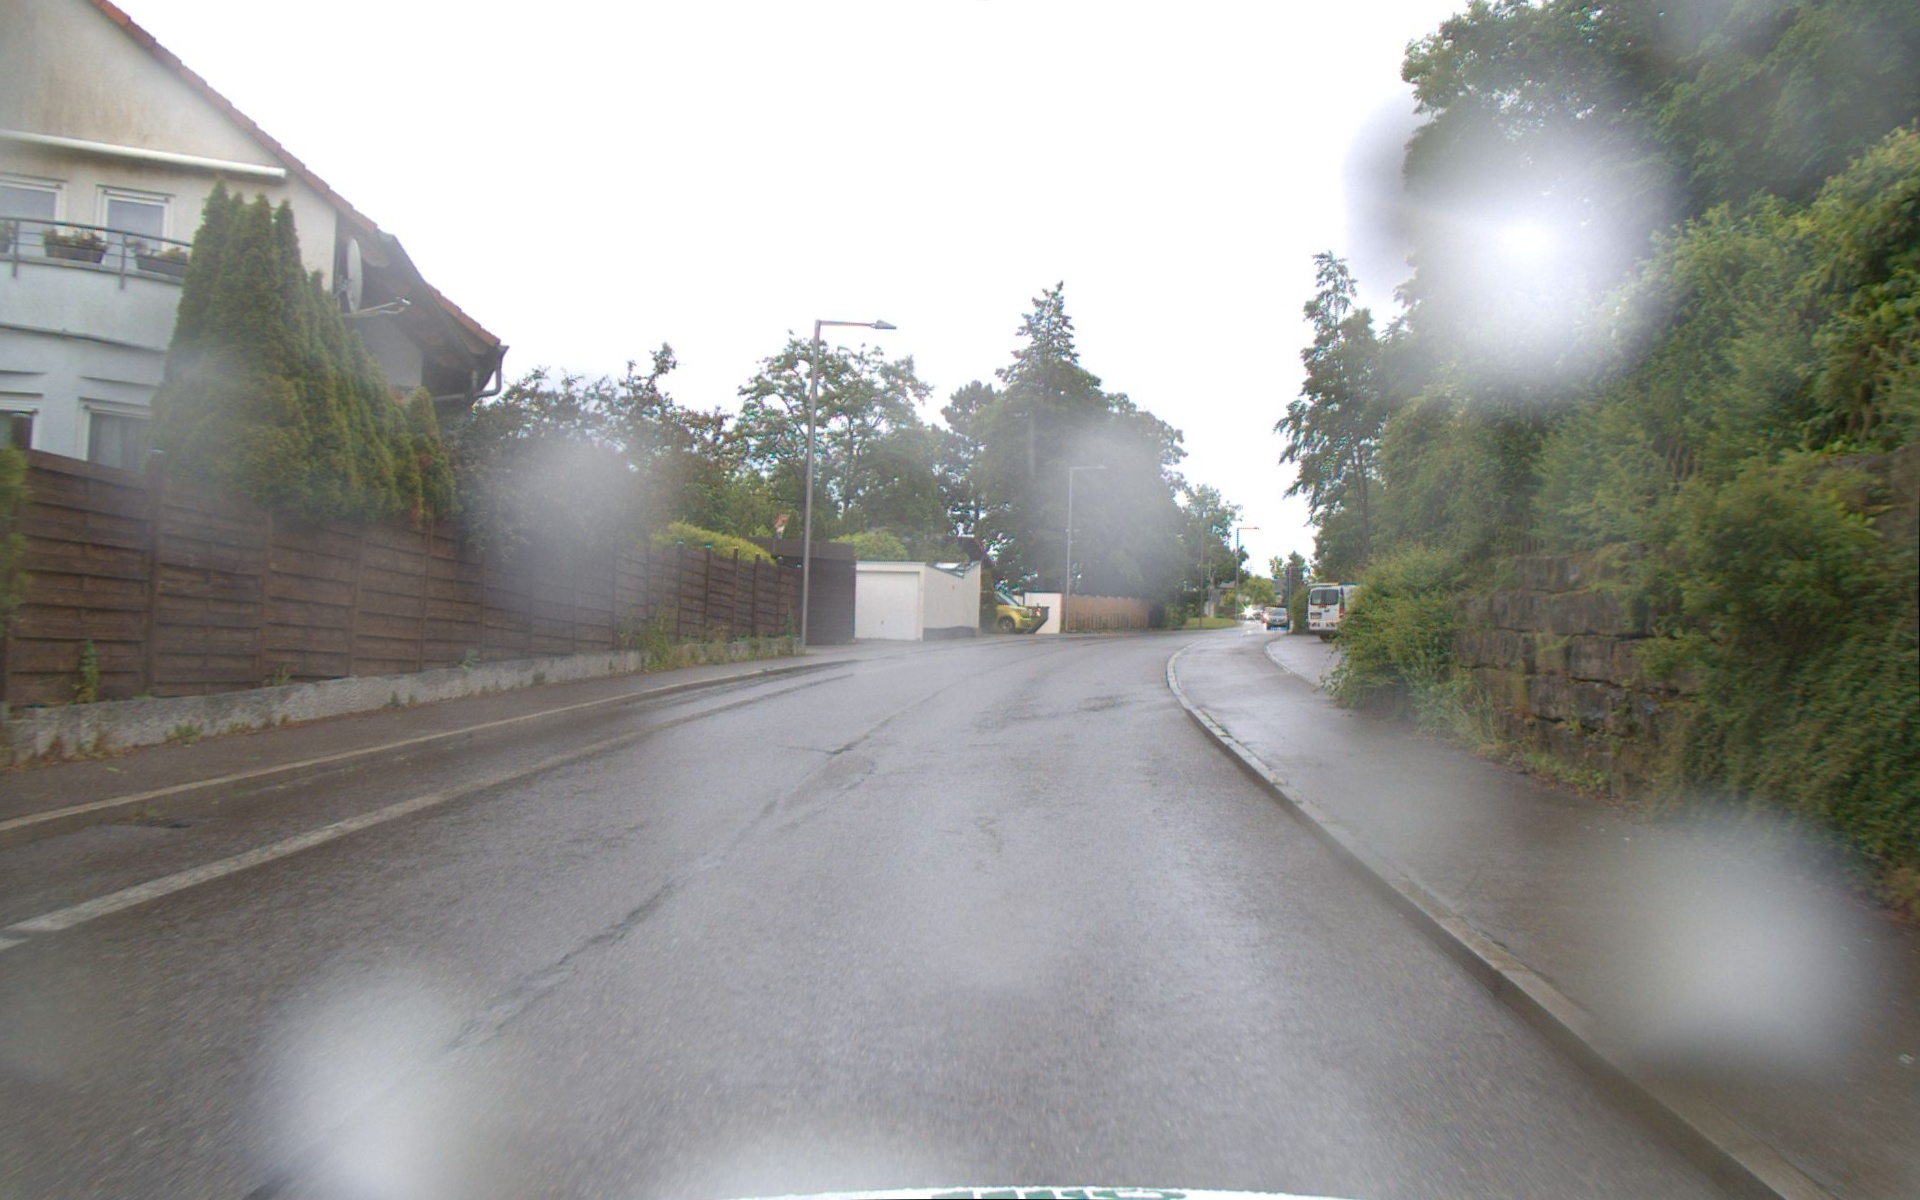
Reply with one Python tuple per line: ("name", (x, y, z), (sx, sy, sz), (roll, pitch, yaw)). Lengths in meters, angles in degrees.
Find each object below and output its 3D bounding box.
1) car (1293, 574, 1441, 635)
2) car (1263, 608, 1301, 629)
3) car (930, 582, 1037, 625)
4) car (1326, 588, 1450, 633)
("car", (13.736, 0.123, 55.731), (4.779, 1.974, 2.133), (-1, 0, -32))
("car", (24.537, 1.399, 125.874), (1.797, 1.538, 4.615), (0, 0, 24))
("car", (1.073, 0.167, 74.639), (4.408, 1.892, 2.090), (0, 0, 19))
("car", (13.599, 0.316, 52.507), (3.747, 1.372, 1.743), (-1, 0, -32))
